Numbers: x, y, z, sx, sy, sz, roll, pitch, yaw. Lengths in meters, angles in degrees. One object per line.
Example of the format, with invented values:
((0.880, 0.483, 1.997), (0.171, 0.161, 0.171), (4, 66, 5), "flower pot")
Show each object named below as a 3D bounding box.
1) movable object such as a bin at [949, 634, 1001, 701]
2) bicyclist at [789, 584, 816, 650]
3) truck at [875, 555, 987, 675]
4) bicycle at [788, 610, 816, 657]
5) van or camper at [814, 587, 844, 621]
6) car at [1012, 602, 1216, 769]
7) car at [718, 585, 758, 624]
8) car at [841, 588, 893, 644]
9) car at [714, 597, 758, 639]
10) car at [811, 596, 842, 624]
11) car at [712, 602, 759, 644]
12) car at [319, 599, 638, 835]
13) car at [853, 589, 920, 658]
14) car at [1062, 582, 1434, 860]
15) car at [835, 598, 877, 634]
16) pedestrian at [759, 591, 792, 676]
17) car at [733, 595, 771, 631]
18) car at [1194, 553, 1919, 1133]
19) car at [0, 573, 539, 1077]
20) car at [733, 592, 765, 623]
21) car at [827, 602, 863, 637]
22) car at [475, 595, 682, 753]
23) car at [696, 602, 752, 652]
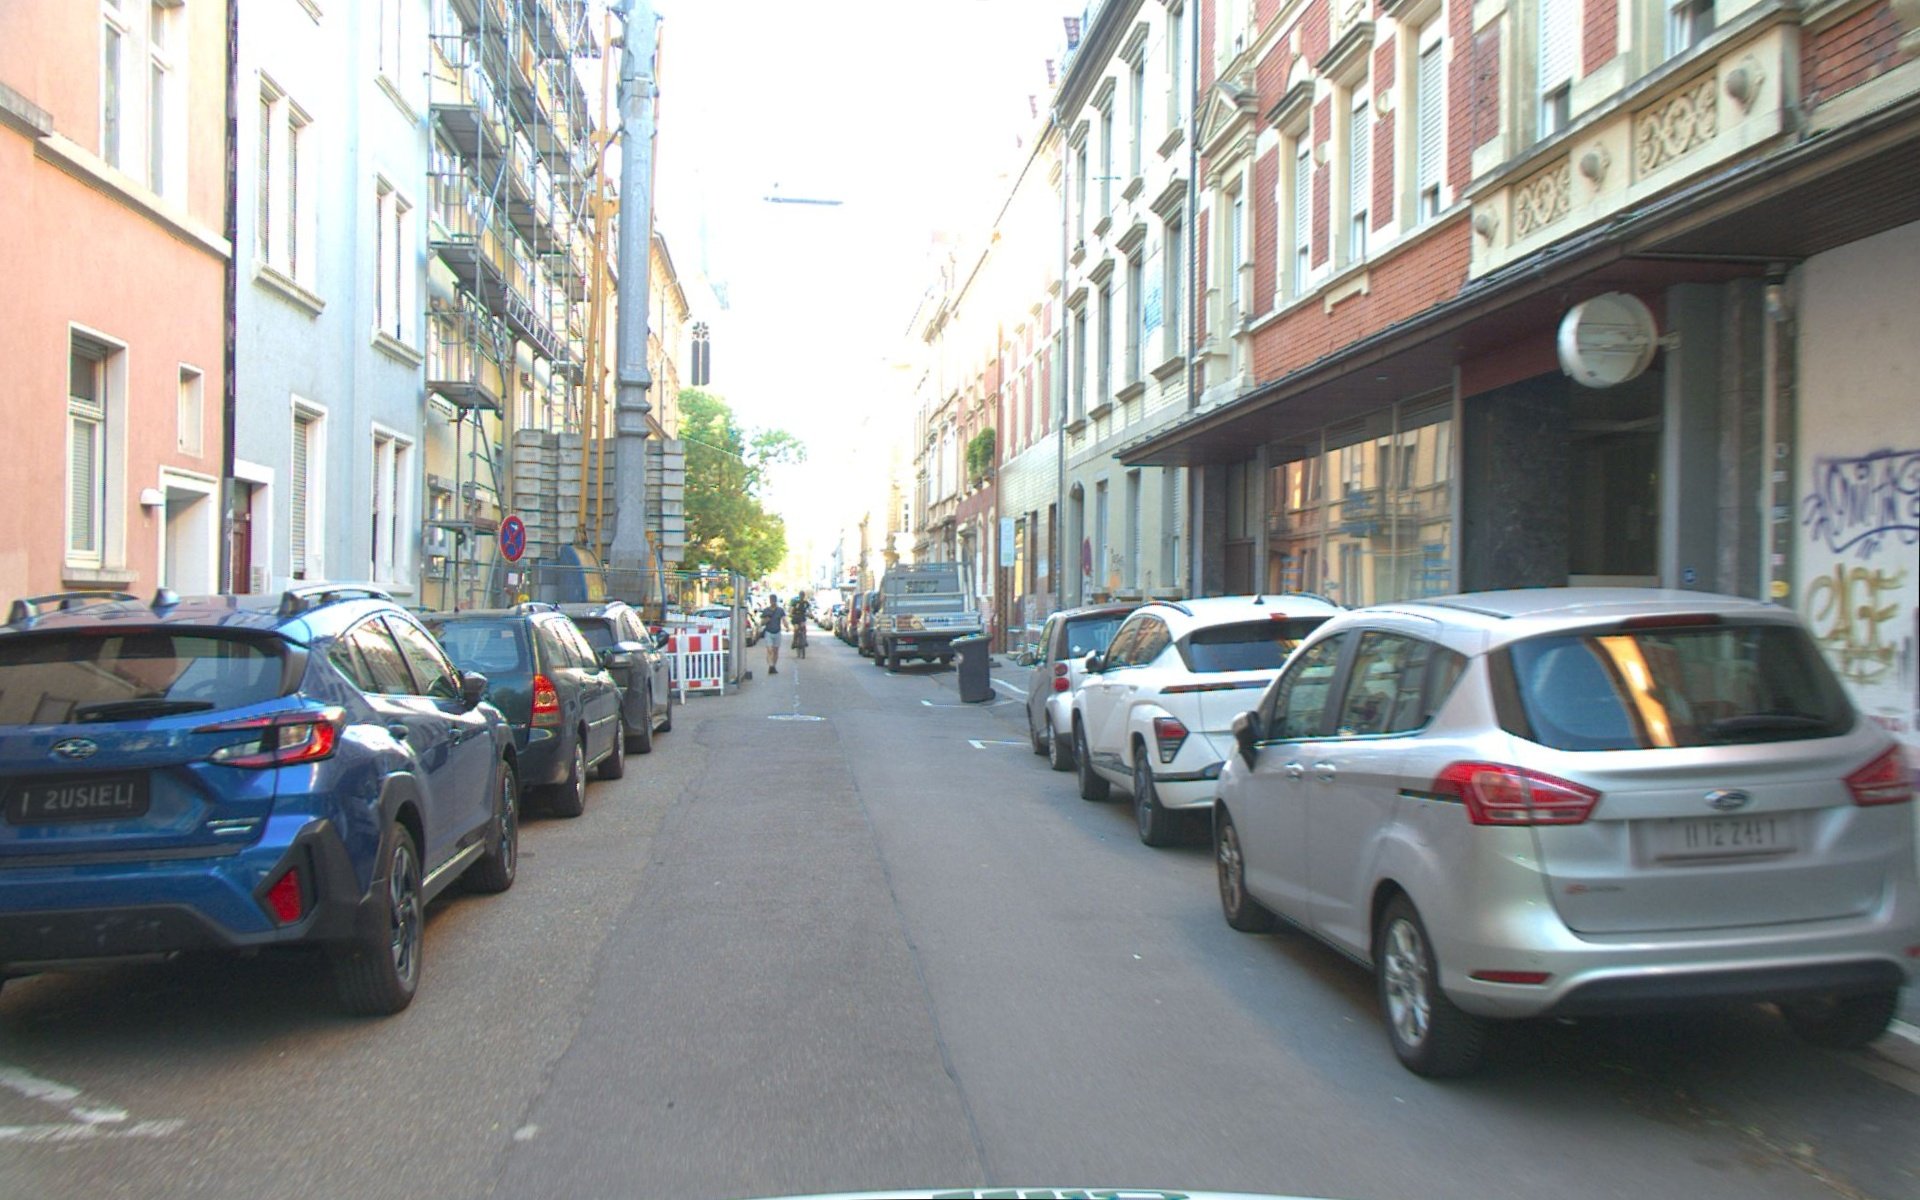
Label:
((0.245, 1.113, 27.388), (0.780, 1.074, 0.659), (1, 0, -6), "movable object such as a bin")
((-4.382, 0.461, 46.048), (0.716, 1.792, 0.834), (1, 0, -6), "bicyclist")
((-0.785, 0.331, 39.555), (2.148, 2.652, 5.226), (0, 0, -7), "truck")
((-4.406, 0.916, 46.116), (0.710, 1.207, 2.040), (2, 0, -5), "bicycle")
((-10.206, 0.307, 128.479), (1.957, 2.552, 4.192), (0, 0, -10), "van or camper")
((1.534, 0.815, 17.677), (1.565, 1.587, 3.810), (0, 0, -4), "car")
((-9.398, 0.209, 69.905), (1.643, 1.598, 3.862), (0, 0, -8), "car")
((-3.546, 0.597, 62.351), (1.643, 2.067, 3.862), (0, 0, -8), "car")
((-8.752, 0.681, 64.664), (1.643, 1.598, 3.862), (0, 0, -8), "car")
((-9.222, 0.677, 113.686), (1.956, 1.881, 3.994), (0, 0, -7), "car")
((-8.123, 0.830, 59.818), (1.643, 1.471, 3.862), (0, 0, -8), "car")
((-3.578, 0.778, 13.054), (1.642, 1.538, 4.408), (0, 0, -6), "car")
((-2.266, 0.685, 49.938), (1.643, 1.997, 4.101), (0, 0, -8), "car")
((1.925, 0.761, 12.397), (1.712, 1.705, 4.336), (0, 0, -5), "car")
((-4.798, 0.739, 75.767), (1.643, 1.598, 3.862), (0, 0, -8), "car")
((-3.898, 0.694, 35.032), (0.645, 1.763, 0.719), (-1, 0, -6), "pedestrian")
((-9.462, 0.582, 75.112), (1.643, 1.598, 3.862), (0, 0, -8), "car")
((2.199, 0.729, 6.816), (1.608, 1.685, 3.865), (1, 0, -5), "car")
((-3.017, 0.719, 7.404), (1.697, 1.566, 4.369), (-1, 0, -8), "car")
((-13.132, 0.480, 103.085), (1.956, 1.881, 3.994), (0, 0, -7), "car")
((-6.958, 1.150, 100.080), (1.956, 2.049, 3.994), (0, 0, -7), "car")
((-4.018, 0.718, 18.064), (1.642, 1.503, 4.602), (0, 0, -6), "car")
((-7.270, 0.821, 51.054), (1.643, 1.471, 3.862), (0, 0, -8), "car")
